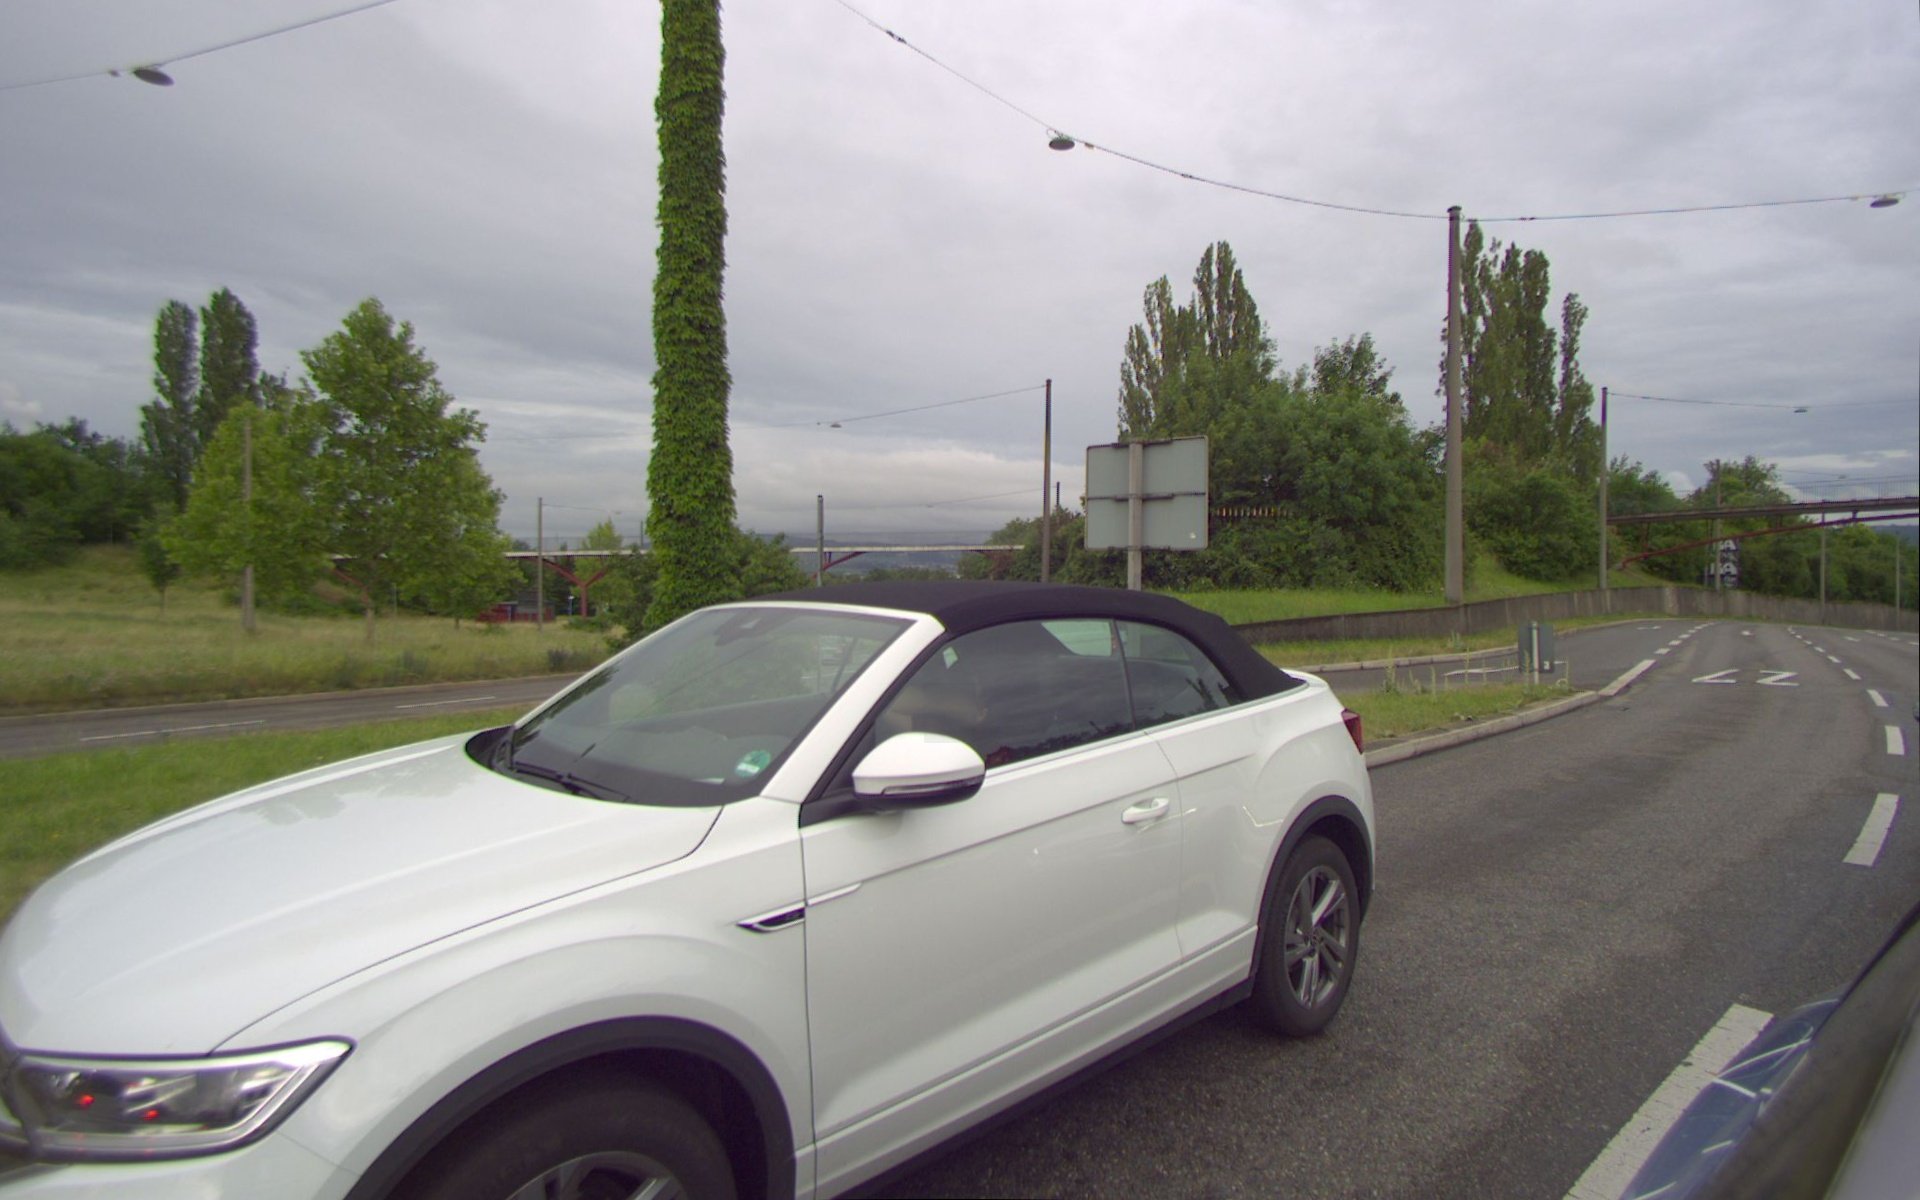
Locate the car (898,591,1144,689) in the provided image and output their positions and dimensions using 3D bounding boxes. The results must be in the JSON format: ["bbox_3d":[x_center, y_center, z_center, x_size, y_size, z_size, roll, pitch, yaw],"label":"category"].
[{"bbox_3d":[1.293,0.852,21.202,4.762,1.872,1.987,-2,-2,20],"label":"car"}]

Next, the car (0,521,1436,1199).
[{"bbox_3d":[-0.252,0.665,3.042,4.160,1.572,1.714,-1,1,-44],"label":"car"}]

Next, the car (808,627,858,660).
[{"bbox_3d":[-6.094,2.062,48.813,1.655,1.438,4.077,-1,-1,4],"label":"car"}]
